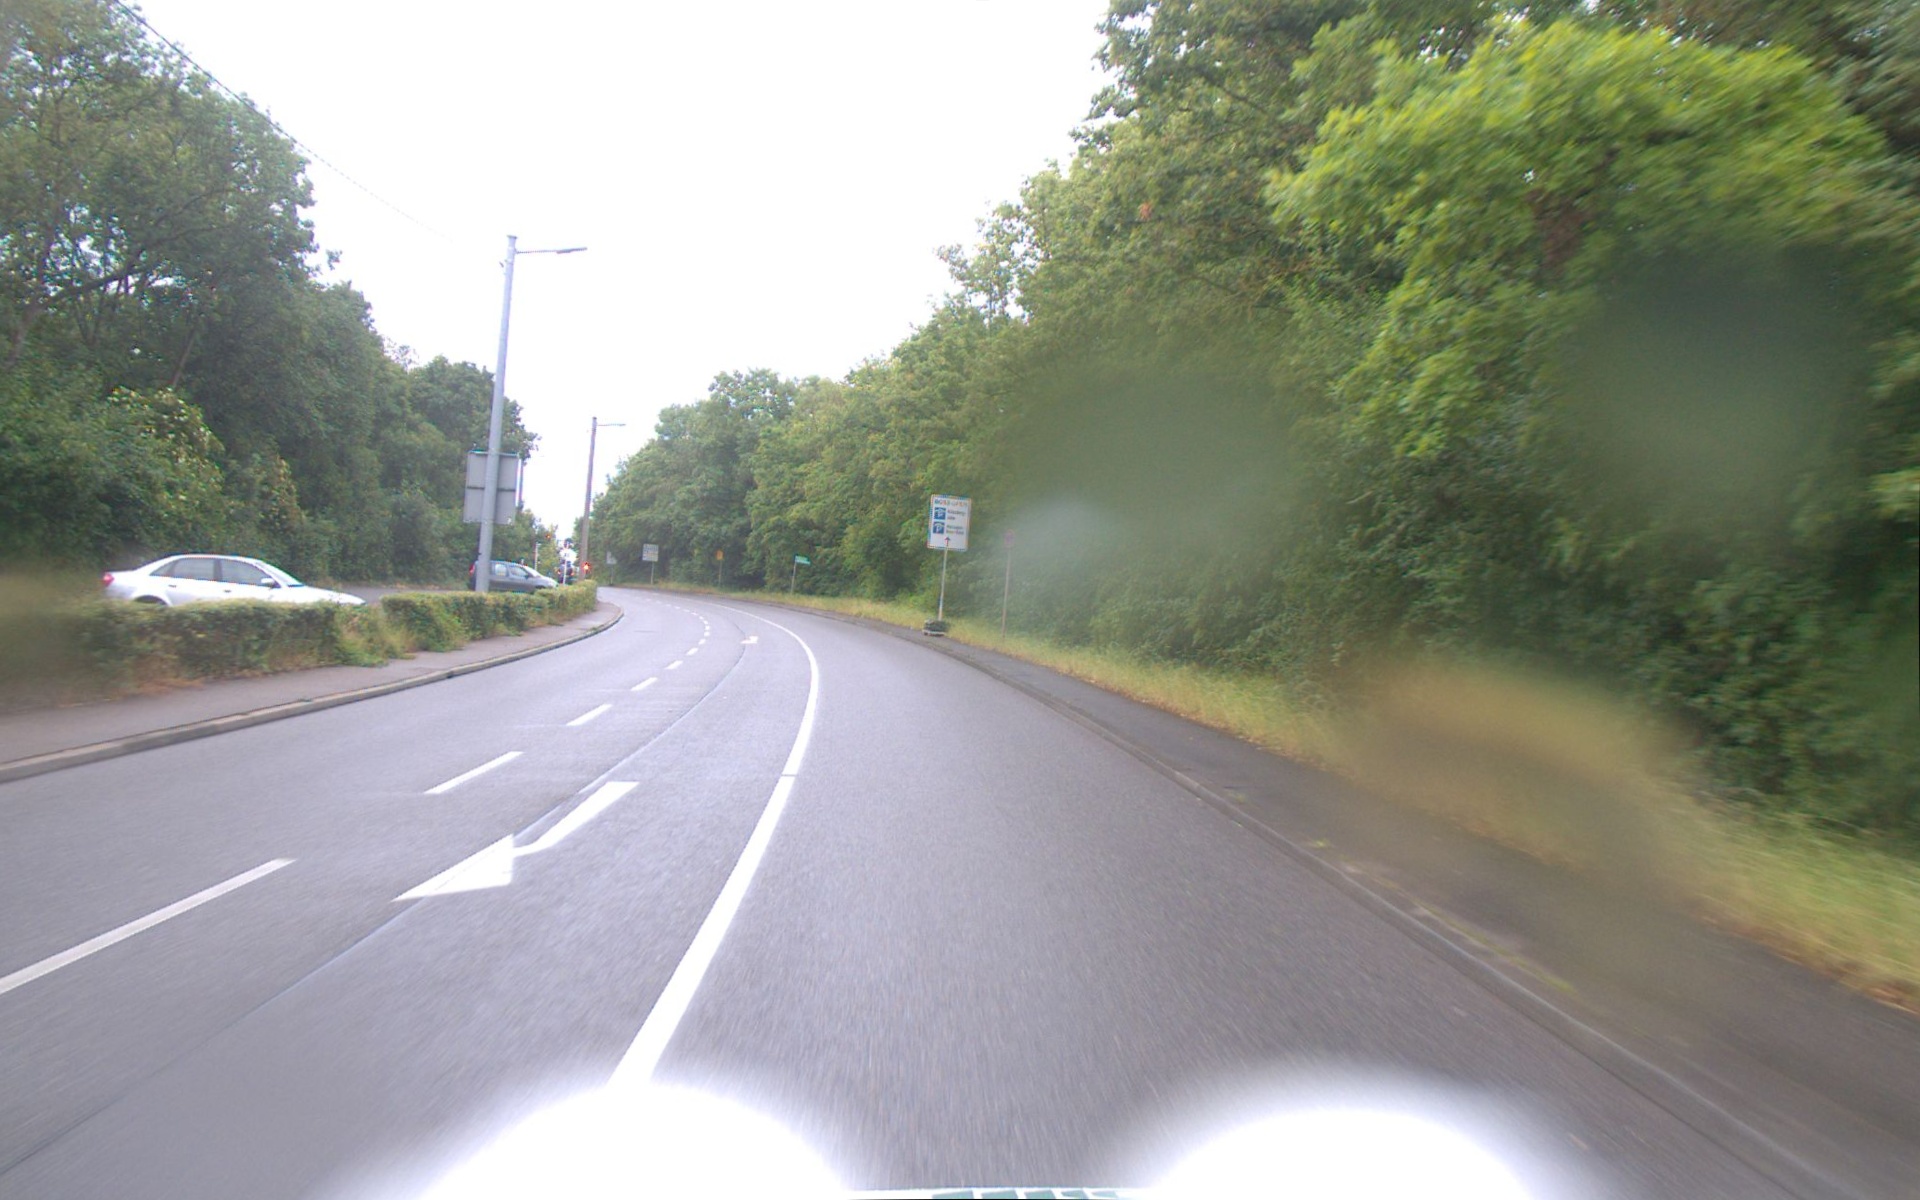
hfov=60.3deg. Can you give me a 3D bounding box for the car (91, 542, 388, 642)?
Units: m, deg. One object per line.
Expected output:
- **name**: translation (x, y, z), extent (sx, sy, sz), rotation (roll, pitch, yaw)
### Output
- **car**: translation (-12.814, -0.140, 29.706), extent (4.494, 1.532, 1.994), rotation (3, 0, -12)

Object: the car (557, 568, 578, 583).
- **car**: translation (-41.761, -2.589, 175.790), extent (1.904, 1.524, 4.298), rotation (2, 1, -17)

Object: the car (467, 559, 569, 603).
- **car**: translation (-20.098, -0.871, 75.397), extent (4.211, 1.738, 1.996), rotation (3, 0, -9)

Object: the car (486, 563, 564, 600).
- **car**: translation (-21.263, -0.899, 80.916), extent (3.585, 1.619, 1.844), rotation (3, 0, -16)
